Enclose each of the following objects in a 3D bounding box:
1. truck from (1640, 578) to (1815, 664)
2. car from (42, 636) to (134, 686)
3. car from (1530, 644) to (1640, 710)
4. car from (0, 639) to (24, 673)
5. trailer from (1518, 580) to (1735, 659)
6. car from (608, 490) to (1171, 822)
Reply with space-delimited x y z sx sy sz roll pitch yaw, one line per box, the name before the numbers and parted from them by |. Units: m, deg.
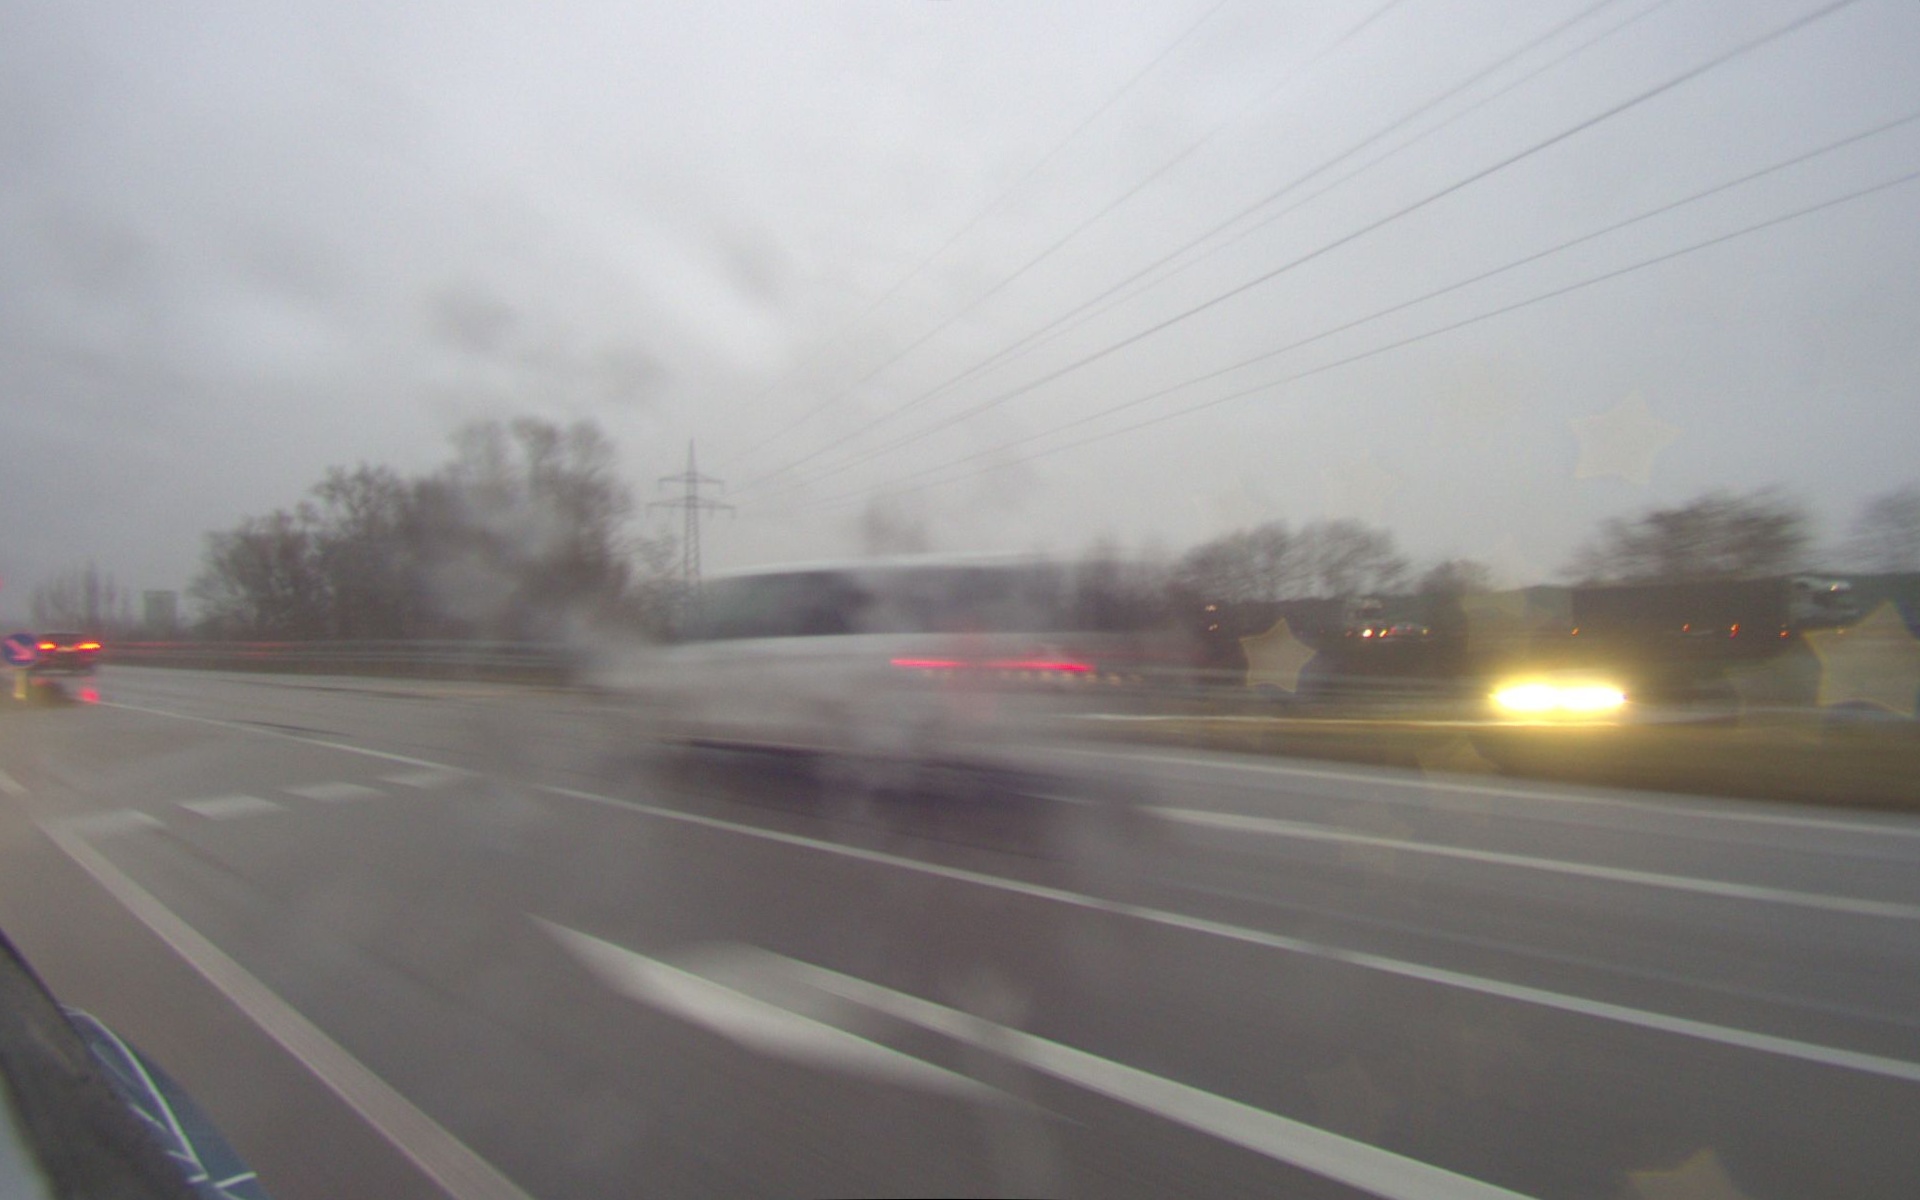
truck | 49.626 1.237 65.822 3.229 5.168 8.547 -1 1 -24
car | -28.457 1.947 32.995 3.997 1.513 1.629 -1 -4 41
car | 17.294 2.097 27.904 1.998 1.689 4.230 -4 -5 39
car | -45.433 2.582 47.133 4.467 1.483 1.974 -1 -3 38
trailer | 46.891 1.198 72.058 3.255 5.142 13.274 0 0 -23
car | -0.900 0.422 8.960 5.177 2.153 1.852 -1 -2 41
